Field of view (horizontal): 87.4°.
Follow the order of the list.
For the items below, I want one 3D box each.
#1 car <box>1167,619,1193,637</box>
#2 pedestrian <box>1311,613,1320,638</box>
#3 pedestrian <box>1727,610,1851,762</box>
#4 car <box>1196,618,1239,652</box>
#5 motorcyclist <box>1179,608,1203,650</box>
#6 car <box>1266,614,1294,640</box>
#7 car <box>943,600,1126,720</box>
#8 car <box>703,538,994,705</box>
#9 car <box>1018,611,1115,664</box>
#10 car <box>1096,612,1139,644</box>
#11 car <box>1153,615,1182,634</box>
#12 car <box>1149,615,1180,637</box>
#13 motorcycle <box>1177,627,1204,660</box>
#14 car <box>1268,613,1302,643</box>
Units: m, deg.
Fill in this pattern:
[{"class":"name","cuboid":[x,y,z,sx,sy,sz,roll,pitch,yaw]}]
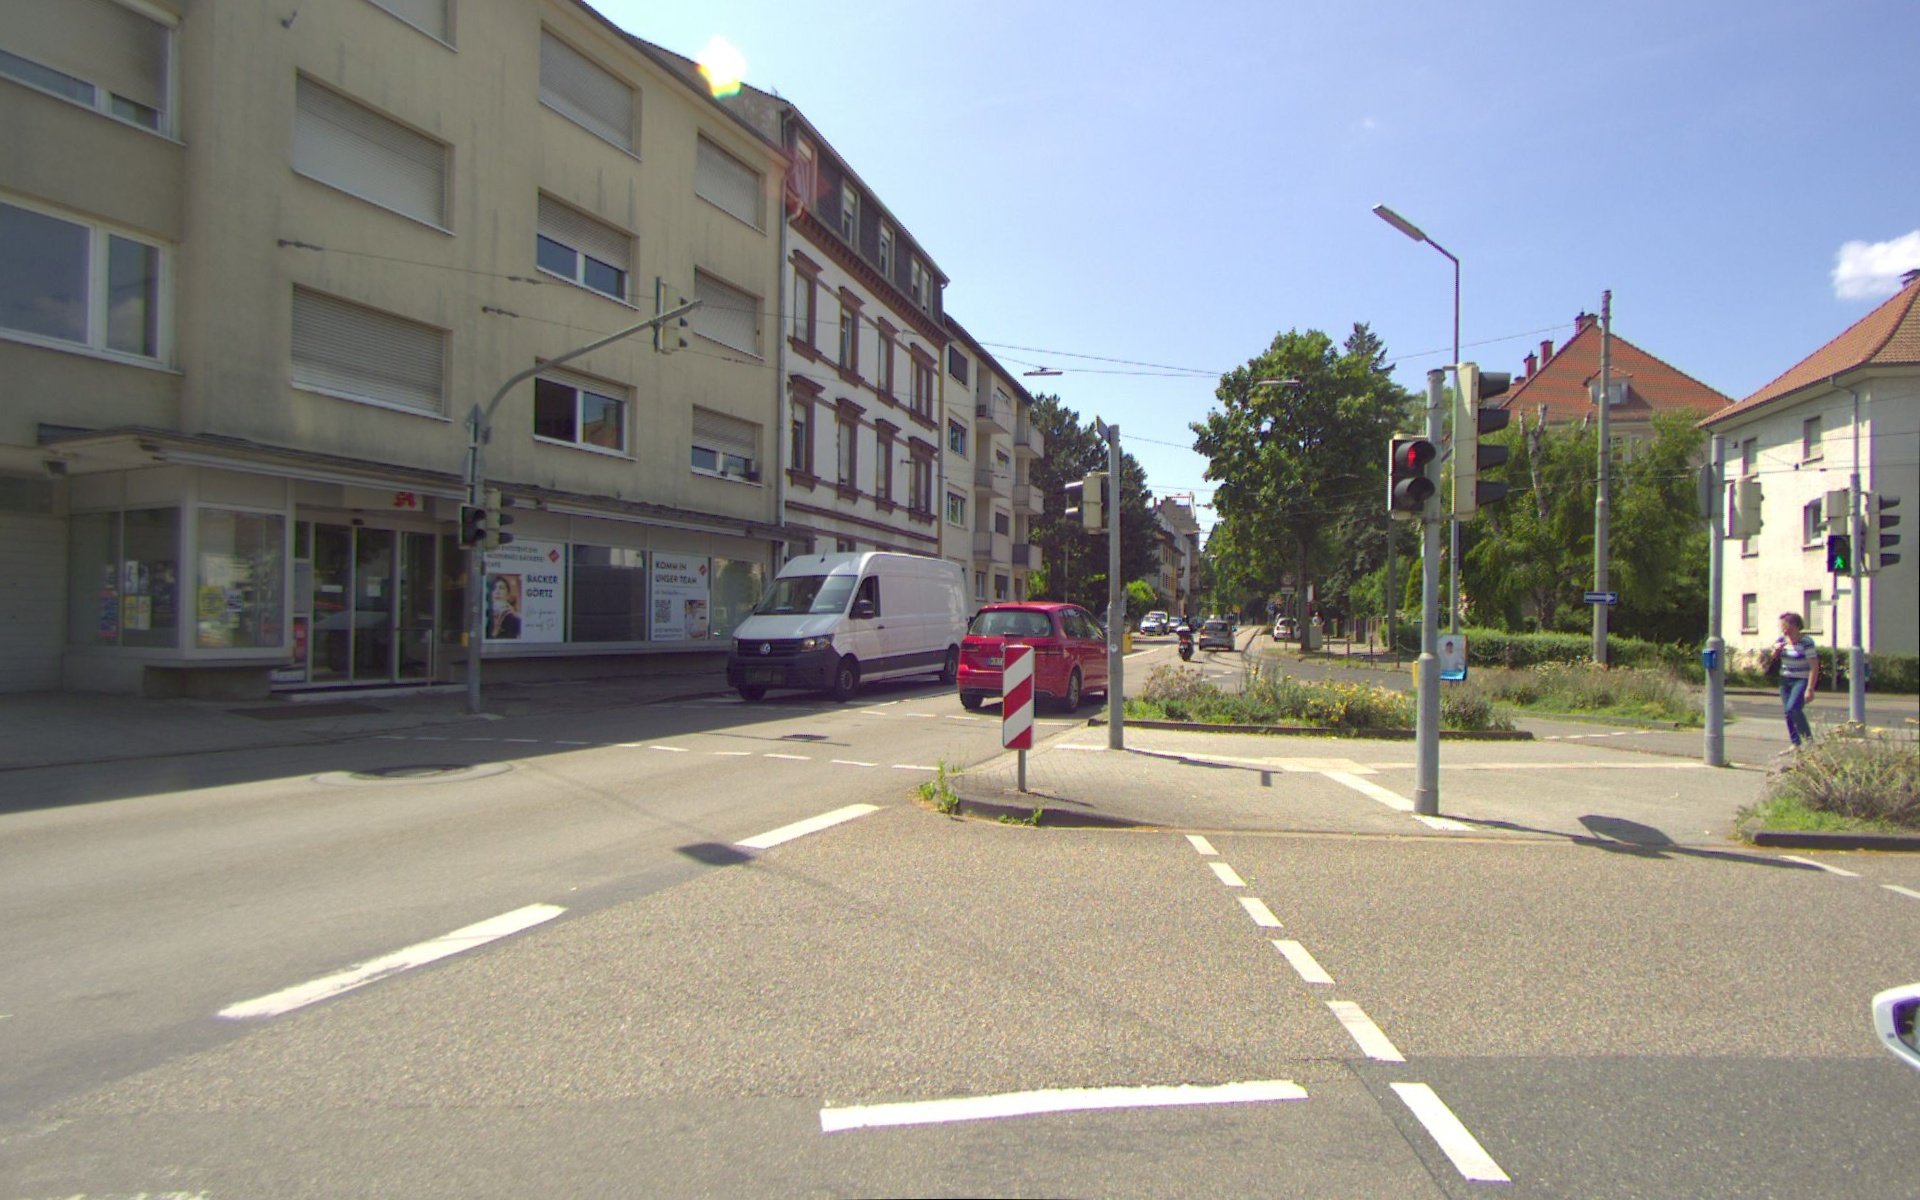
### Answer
[{"class":"car","cuboid":[21.968,2.802,100.259,1.770,1.578,4.036,4,0,22]},{"class":"pedestrian","cuboid":[24.452,1.761,69.126,0.500,1.678,0.465,2,0,21]},{"class":"pedestrian","cuboid":[9.830,0.997,11.941,0.821,1.727,0.762,1,0,1]},{"class":"car","cuboid":[12.746,1.710,49.601,1.769,1.578,4.038,1,-1,18]},{"class":"motorcyclist","cuboid":[8.354,1.037,36.335,0.699,1.465,1.019,1,0,20]},{"class":"car","cuboid":[25.425,2.132,79.888,1.960,1.932,4.002,2,0,16]},{"class":"car","cuboid":[1.319,0.852,15.802,1.769,1.578,4.037,2,-1,21]},{"class":"car","cuboid":[-1.683,0.451,19.166,2.180,2.534,7.552,-2,-2,22]},{"class":"car","cuboid":[3.492,1.181,32.218,1.823,1.578,4.283,-1,-2,24]},{"class":"car","cuboid":[9.637,1.676,61.145,1.769,1.740,4.038,4,0,20]},{"class":"car","cuboid":[18.497,2.181,89.255,1.770,1.578,4.036,4,0,22]},{"class":"car","cuboid":[16.992,2.154,83.364,1.770,1.578,4.036,4,0,22]},{"class":"motorcycle","cuboid":[8.392,1.558,36.475,0.699,1.149,2.197,1,-1,20]},{"class":"car","cuboid":[21.633,1.828,66.948,1.960,1.831,4.002,2,0,16]}]
